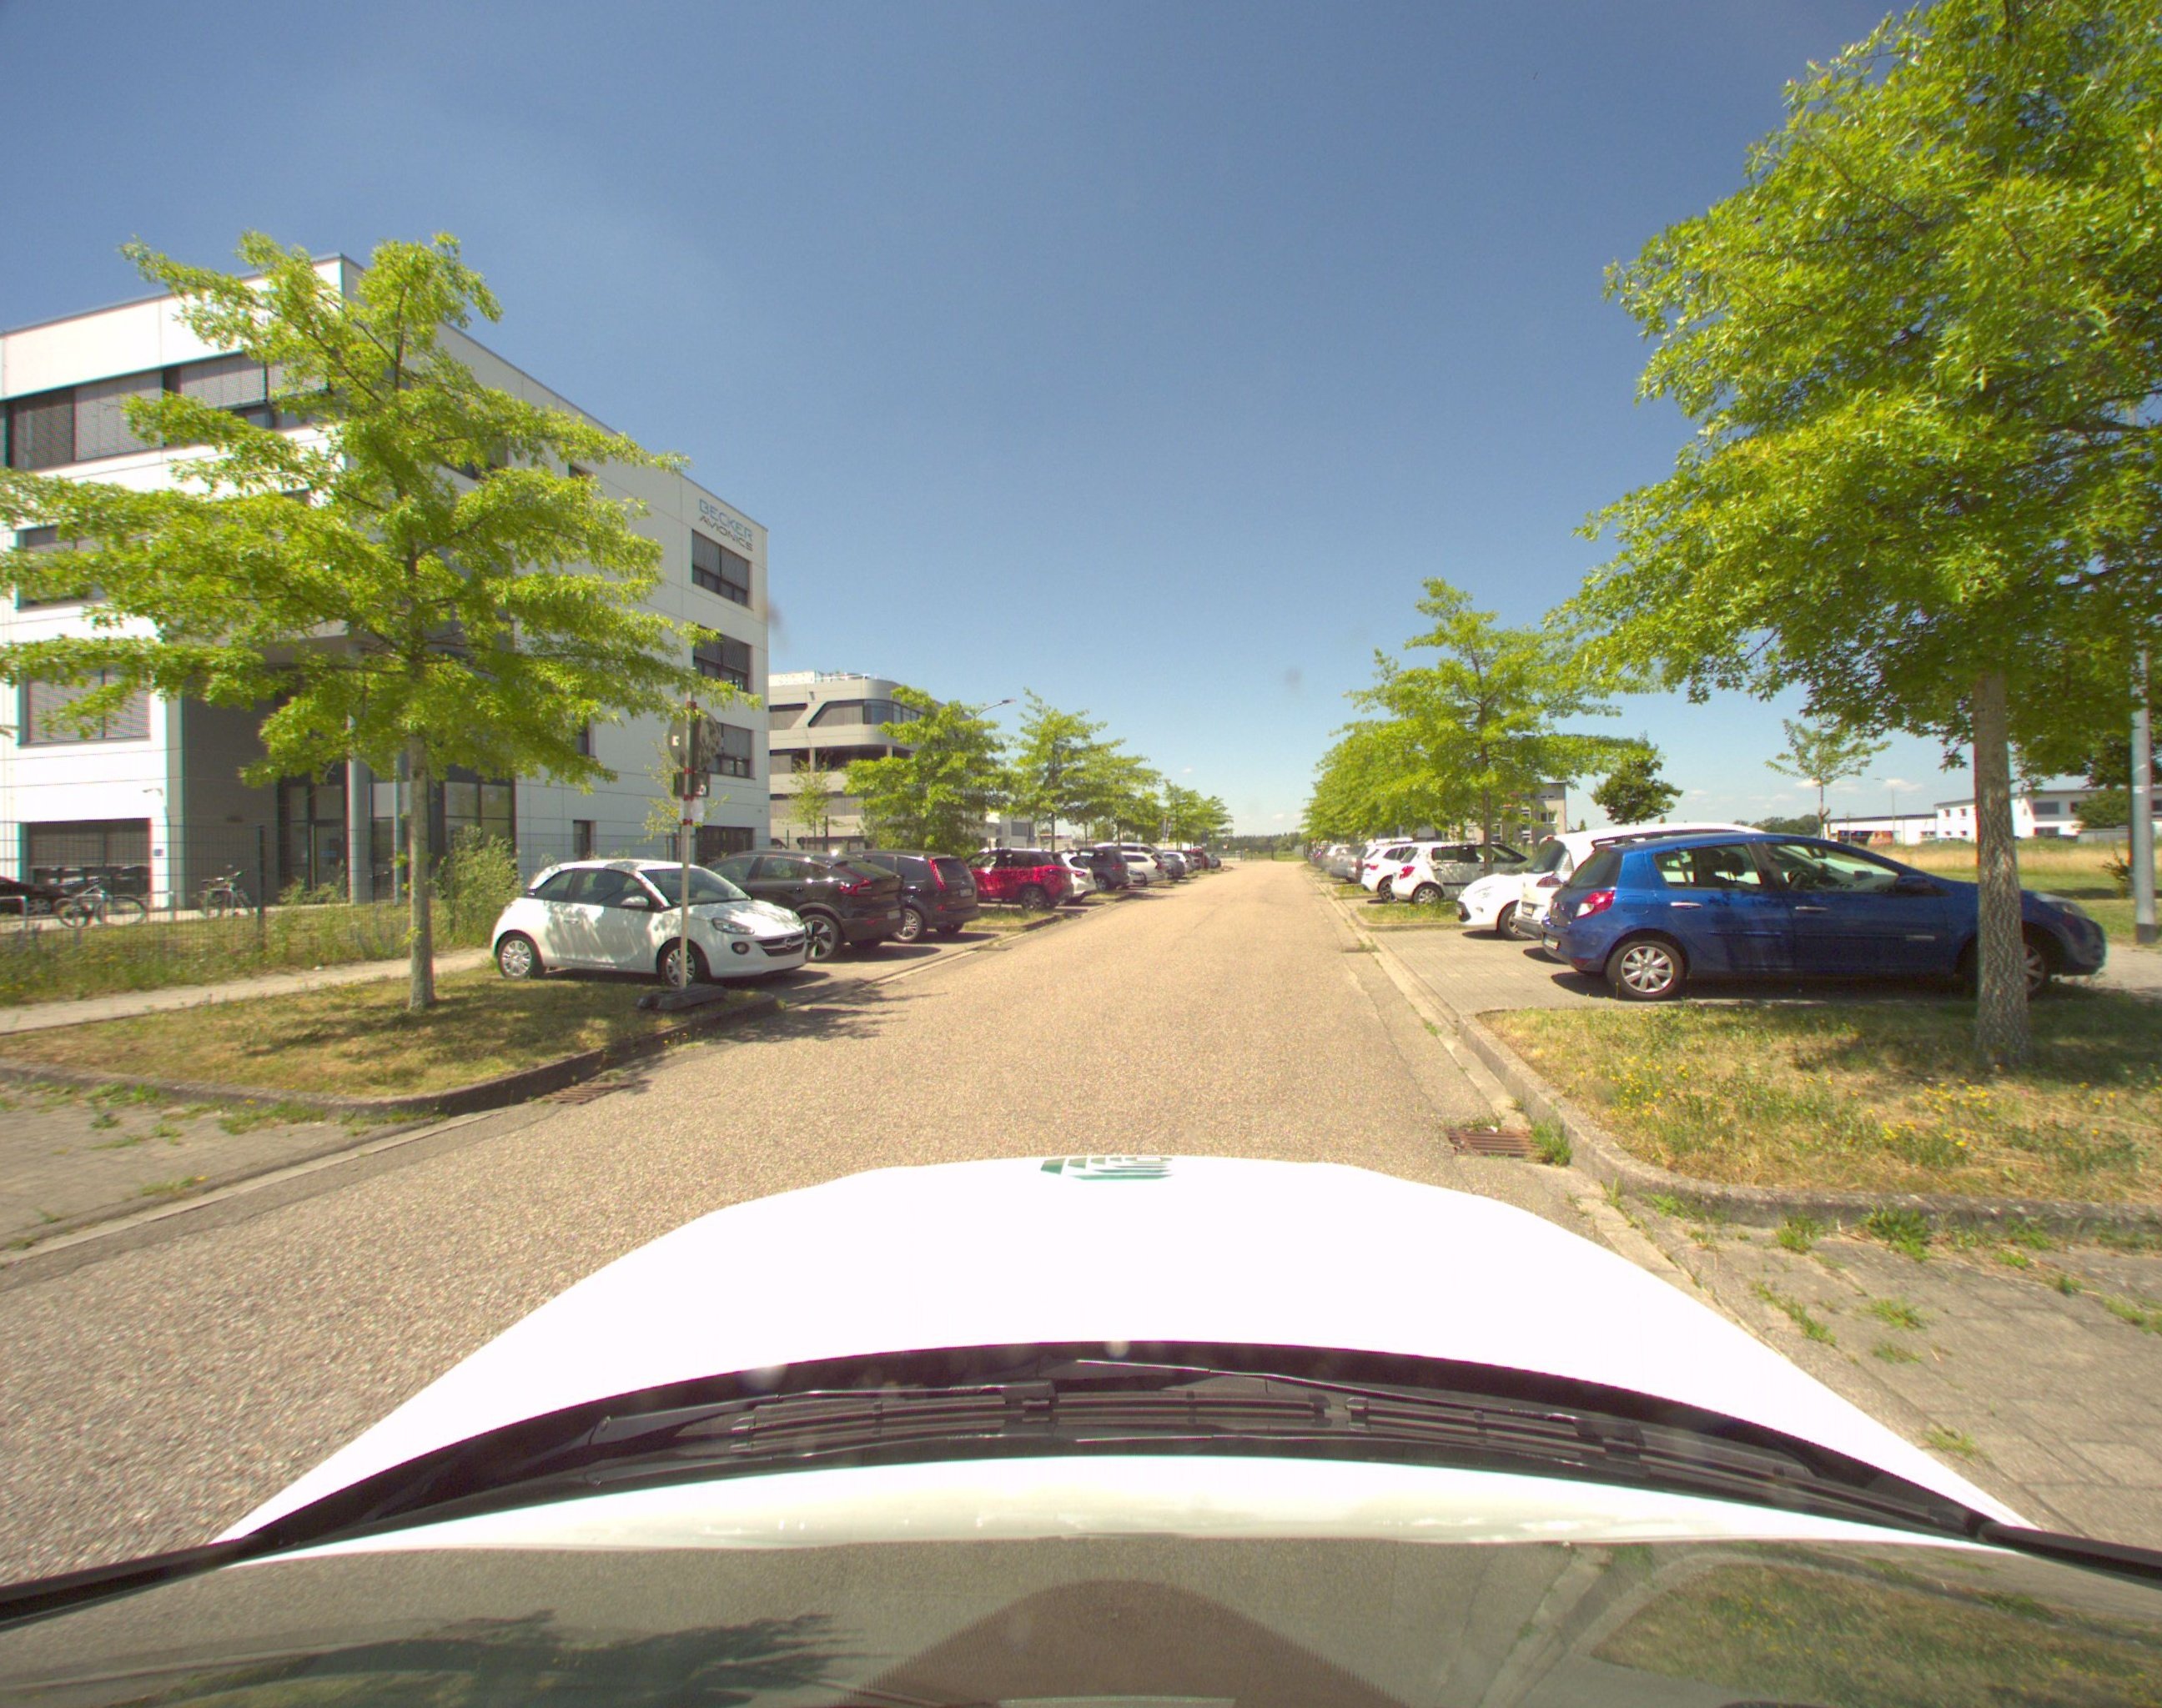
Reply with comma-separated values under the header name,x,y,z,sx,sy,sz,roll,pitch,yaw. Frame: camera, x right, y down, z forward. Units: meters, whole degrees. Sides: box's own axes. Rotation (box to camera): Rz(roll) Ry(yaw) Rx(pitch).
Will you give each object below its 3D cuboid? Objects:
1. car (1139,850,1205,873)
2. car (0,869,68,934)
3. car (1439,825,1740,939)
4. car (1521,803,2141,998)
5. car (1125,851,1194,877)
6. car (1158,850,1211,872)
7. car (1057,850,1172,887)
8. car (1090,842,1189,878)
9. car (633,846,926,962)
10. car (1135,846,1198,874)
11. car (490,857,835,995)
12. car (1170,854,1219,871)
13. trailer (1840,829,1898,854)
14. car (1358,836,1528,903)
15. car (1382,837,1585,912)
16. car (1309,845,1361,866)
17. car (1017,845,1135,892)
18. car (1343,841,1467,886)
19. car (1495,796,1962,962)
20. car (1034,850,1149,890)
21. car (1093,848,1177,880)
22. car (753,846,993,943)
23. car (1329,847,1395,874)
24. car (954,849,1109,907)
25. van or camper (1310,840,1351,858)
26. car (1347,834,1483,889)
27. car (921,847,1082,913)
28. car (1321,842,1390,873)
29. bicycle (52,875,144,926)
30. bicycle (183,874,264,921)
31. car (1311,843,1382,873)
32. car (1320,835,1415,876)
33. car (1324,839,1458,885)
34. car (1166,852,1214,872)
name,x,y,z,sx,sy,sz,roll,pitch,yaw
car,6.159,0.490,54.955,4.163,1.480,1.719,1,0,14
car,-28.151,1.230,19.796,1.764,1.602,4.014,-1,0,13
car,7.751,0.422,12.740,3.596,1.463,1.615,-4,0,9
car,6.657,0.457,7.819,3.964,1.490,1.735,-4,0,17
car,4.850,0.589,50.010,4.011,1.461,1.609,1,0,11
car,7.804,0.511,61.098,3.710,1.621,1.823,1,0,14
car,1.462,0.599,34.733,4.683,1.447,1.863,1,0,10
car,3.208,0.293,44.242,5.032,1.891,2.005,0,0,15
car,-4.565,0.689,12.610,3.814,1.593,1.835,1,0,10
car,5.555,0.361,52.636,3.964,1.678,1.782,1,0,9
car,-5.107,0.793,10.118,3.480,1.441,1.734,1,0,13
car,9.844,0.701,70.414,4.050,1.424,1.879,1,0,10
trailer,86.359,-1.390,89.332,3.960,2.600,2.240,-1,0,12
car,9.204,0.389,21.010,3.803,1.553,1.788,-2,0,19
car,8.986,0.455,18.521,3.807,1.524,1.786,-2,0,13
car,22.708,0.123,72.874,4.249,1.644,1.858,-3,-1,14
car,-0.154,0.518,30.301,4.089,1.634,1.734,1,0,13
car,11.853,0.357,30.042,4.017,1.453,1.652,-3,-1,14
car,7.559,0.333,10.043,4.076,1.650,1.782,-4,0,18
car,0.445,0.598,32.347,4.283,1.473,1.733,1,0,11
car,2.758,0.486,41.228,3.940,1.484,1.770,1,0,14
car,-3.755,0.669,14.957,3.879,1.592,1.734,1,0,13
car,16.432,0.361,47.771,3.433,1.417,1.761,-3,-1,13
car,-1.412,0.664,23.890,4.141,1.513,1.814,1,1,15
van or camper,32.078,-0.616,104.966,4.902,2.164,2.007,-1,-1,13
car,11.183,0.269,27.547,4.017,1.625,1.700,-3,-1,14
car,-2.034,0.620,21.317,3.813,1.592,1.733,1,0,11
car,16.799,0.210,49.979,3.847,1.678,1.789,-3,-1,14
bicycle,-19.544,0.922,16.188,1.581,0.982,0.463,-1,0,12
bicycle,-19.008,0.962,18.058,1.581,0.982,0.463,-1,0,12
car,17.110,0.251,52.699,4.145,1.696,1.788,-3,-1,12
car,14.483,0.100,41.375,4.371,1.830,1.803,-3,-1,14
car,12.313,0.314,32.595,4.687,1.561,1.919,-3,-1,10
car,8.524,0.643,63.624,3.634,1.508,1.736,1,0,10
